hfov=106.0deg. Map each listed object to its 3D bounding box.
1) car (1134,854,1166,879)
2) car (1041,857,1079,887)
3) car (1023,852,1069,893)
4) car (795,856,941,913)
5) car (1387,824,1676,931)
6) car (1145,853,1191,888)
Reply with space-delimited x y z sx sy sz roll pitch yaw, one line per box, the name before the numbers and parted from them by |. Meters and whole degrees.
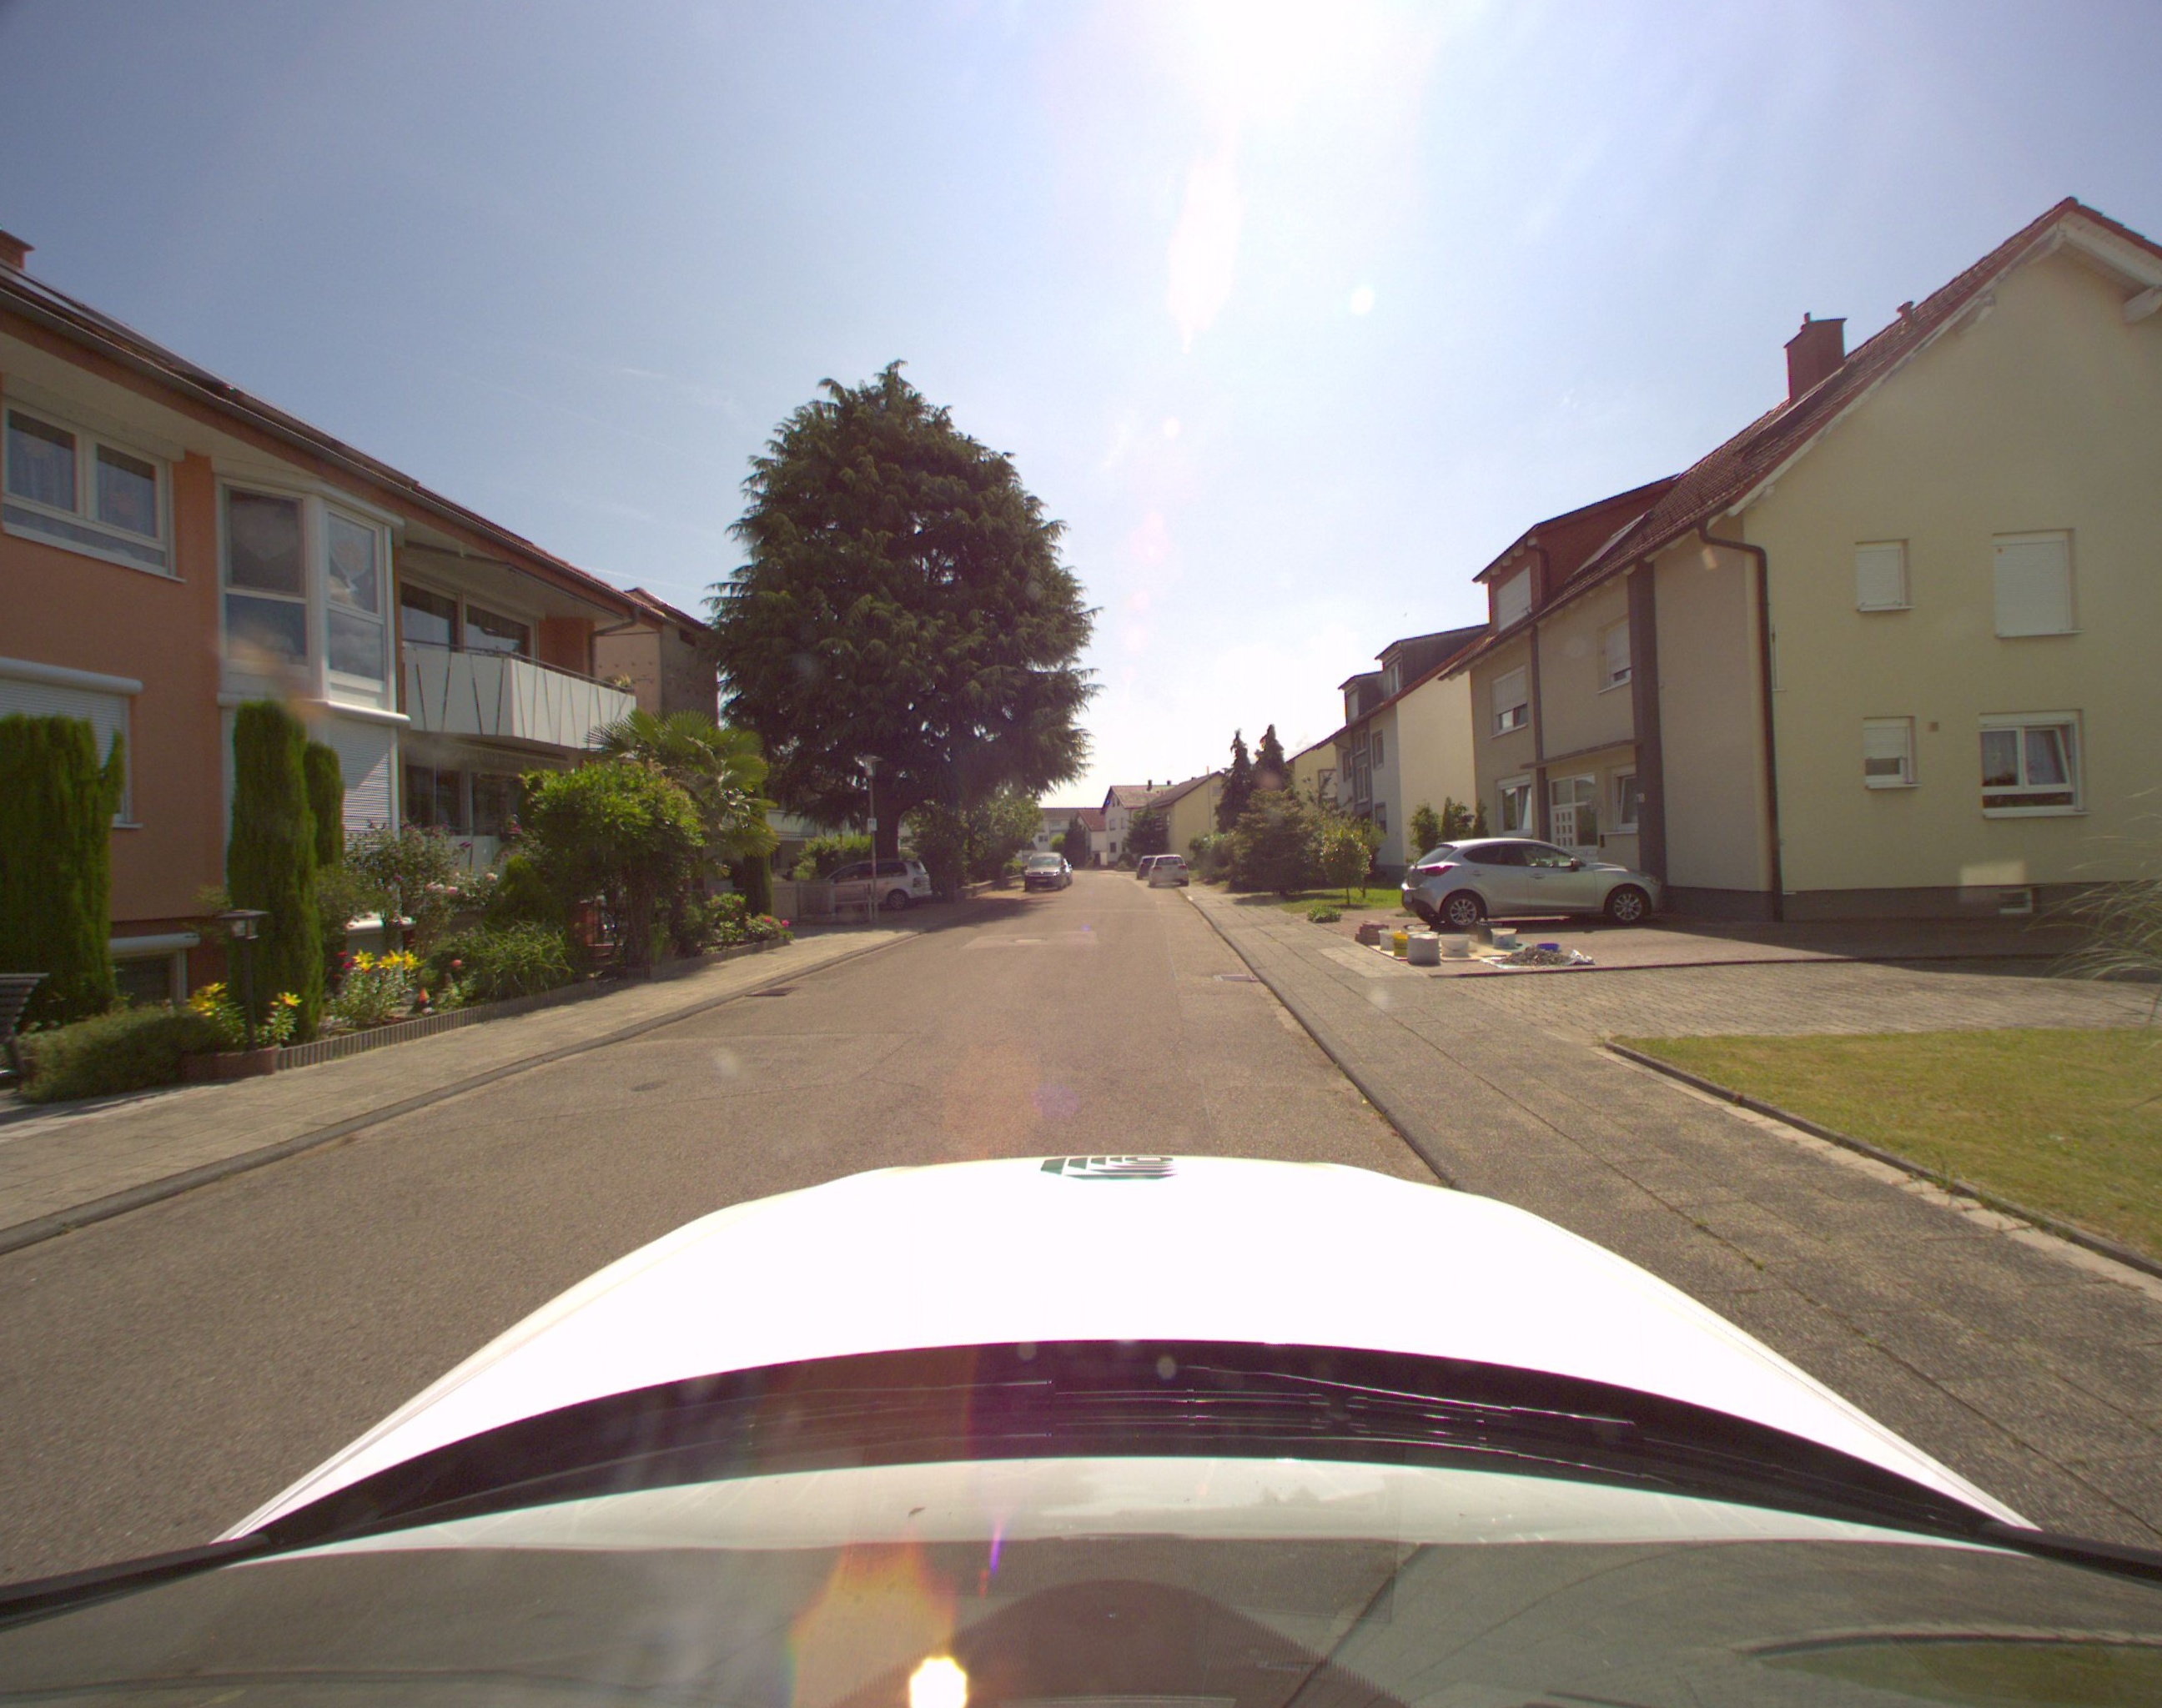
car | 4.331 0.768 51.628 1.801 1.495 4.002 -2 0 2
car | -1.127 0.941 44.761 1.801 1.495 4.002 -2 0 2
car | -1.585 0.829 38.613 1.801 1.763 4.208 -2 0 2
car | -6.947 0.989 26.770 4.171 1.653 1.817 -2 0 6
car | 7.501 0.379 13.894 3.895 1.510 1.776 -3 0 5
car | 4.097 0.743 38.871 1.801 1.495 4.002 -2 0 2
